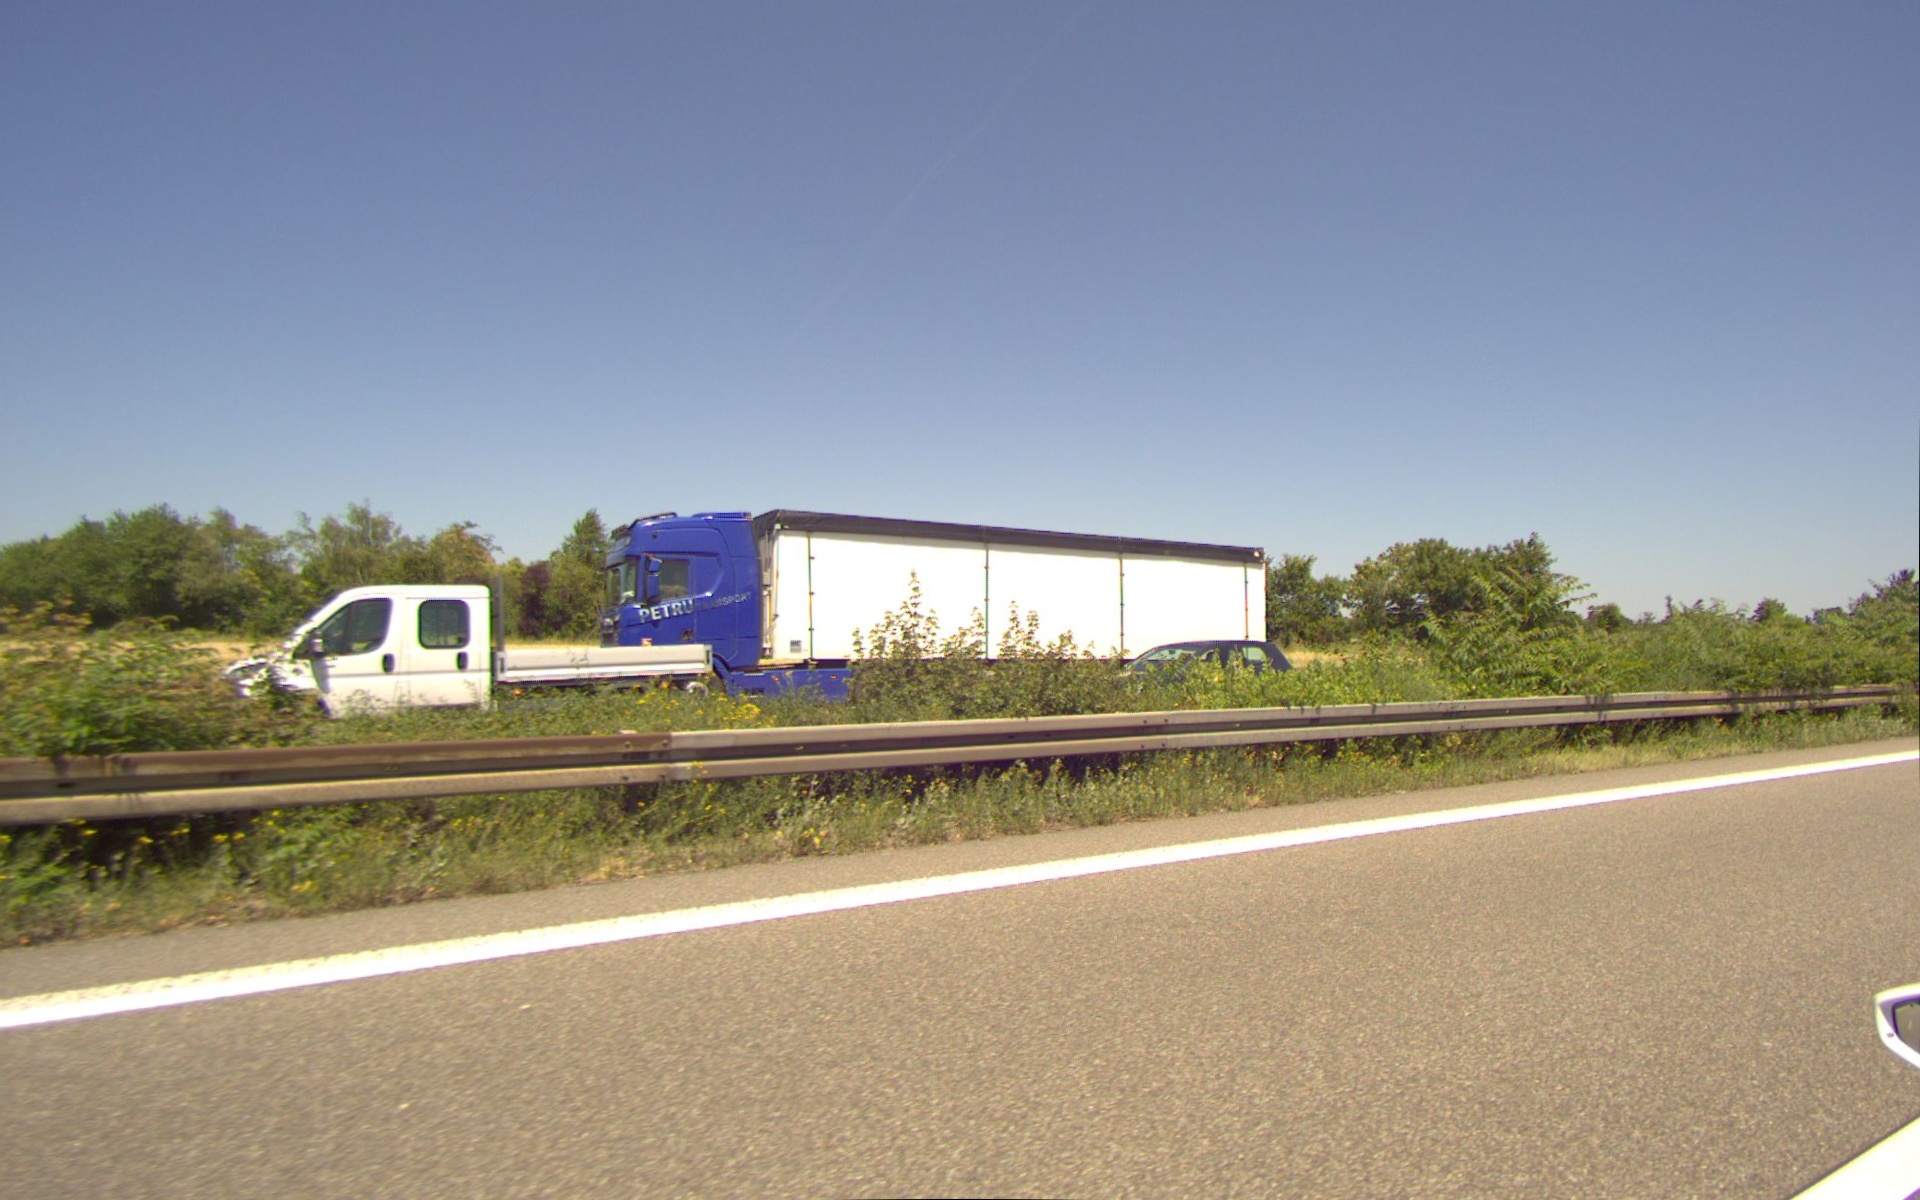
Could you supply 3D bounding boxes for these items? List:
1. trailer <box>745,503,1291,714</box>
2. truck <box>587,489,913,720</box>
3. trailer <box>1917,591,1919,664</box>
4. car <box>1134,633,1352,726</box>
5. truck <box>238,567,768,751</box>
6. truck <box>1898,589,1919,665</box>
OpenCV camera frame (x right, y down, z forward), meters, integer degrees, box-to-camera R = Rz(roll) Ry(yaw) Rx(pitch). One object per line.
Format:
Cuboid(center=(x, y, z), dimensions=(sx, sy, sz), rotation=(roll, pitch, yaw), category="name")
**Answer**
Cuboid(center=(1.996, 0.348, 24.375), dimensions=(13.793, 4.112, 3.043), rotation=(2, 0, -31), category="trailer")
Cuboid(center=(-4.294, 0.139, 20.661), dimensions=(5.849, 4.112, 3.044), rotation=(2, 0, -30), category="truck")
Cuboid(center=(60.811, 1.745, 58.912), dimensions=(14.158, 4.112, 2.940), rotation=(2, 0, -31), category="trailer")
Cuboid(center=(5.054, 1.360, 17.877), dimensions=(3.645, 1.439, 1.672), rotation=(2, 0, -30), category="car")
Cuboid(center=(-6.275, 0.781, 14.523), dimensions=(6.496, 2.182, 2.237), rotation=(2, 0, -30), category="truck")
Cuboid(center=(55.124, 1.568, 55.552), dimensions=(6.462, 4.117, 2.937), rotation=(2, 0, -30), category="truck")
